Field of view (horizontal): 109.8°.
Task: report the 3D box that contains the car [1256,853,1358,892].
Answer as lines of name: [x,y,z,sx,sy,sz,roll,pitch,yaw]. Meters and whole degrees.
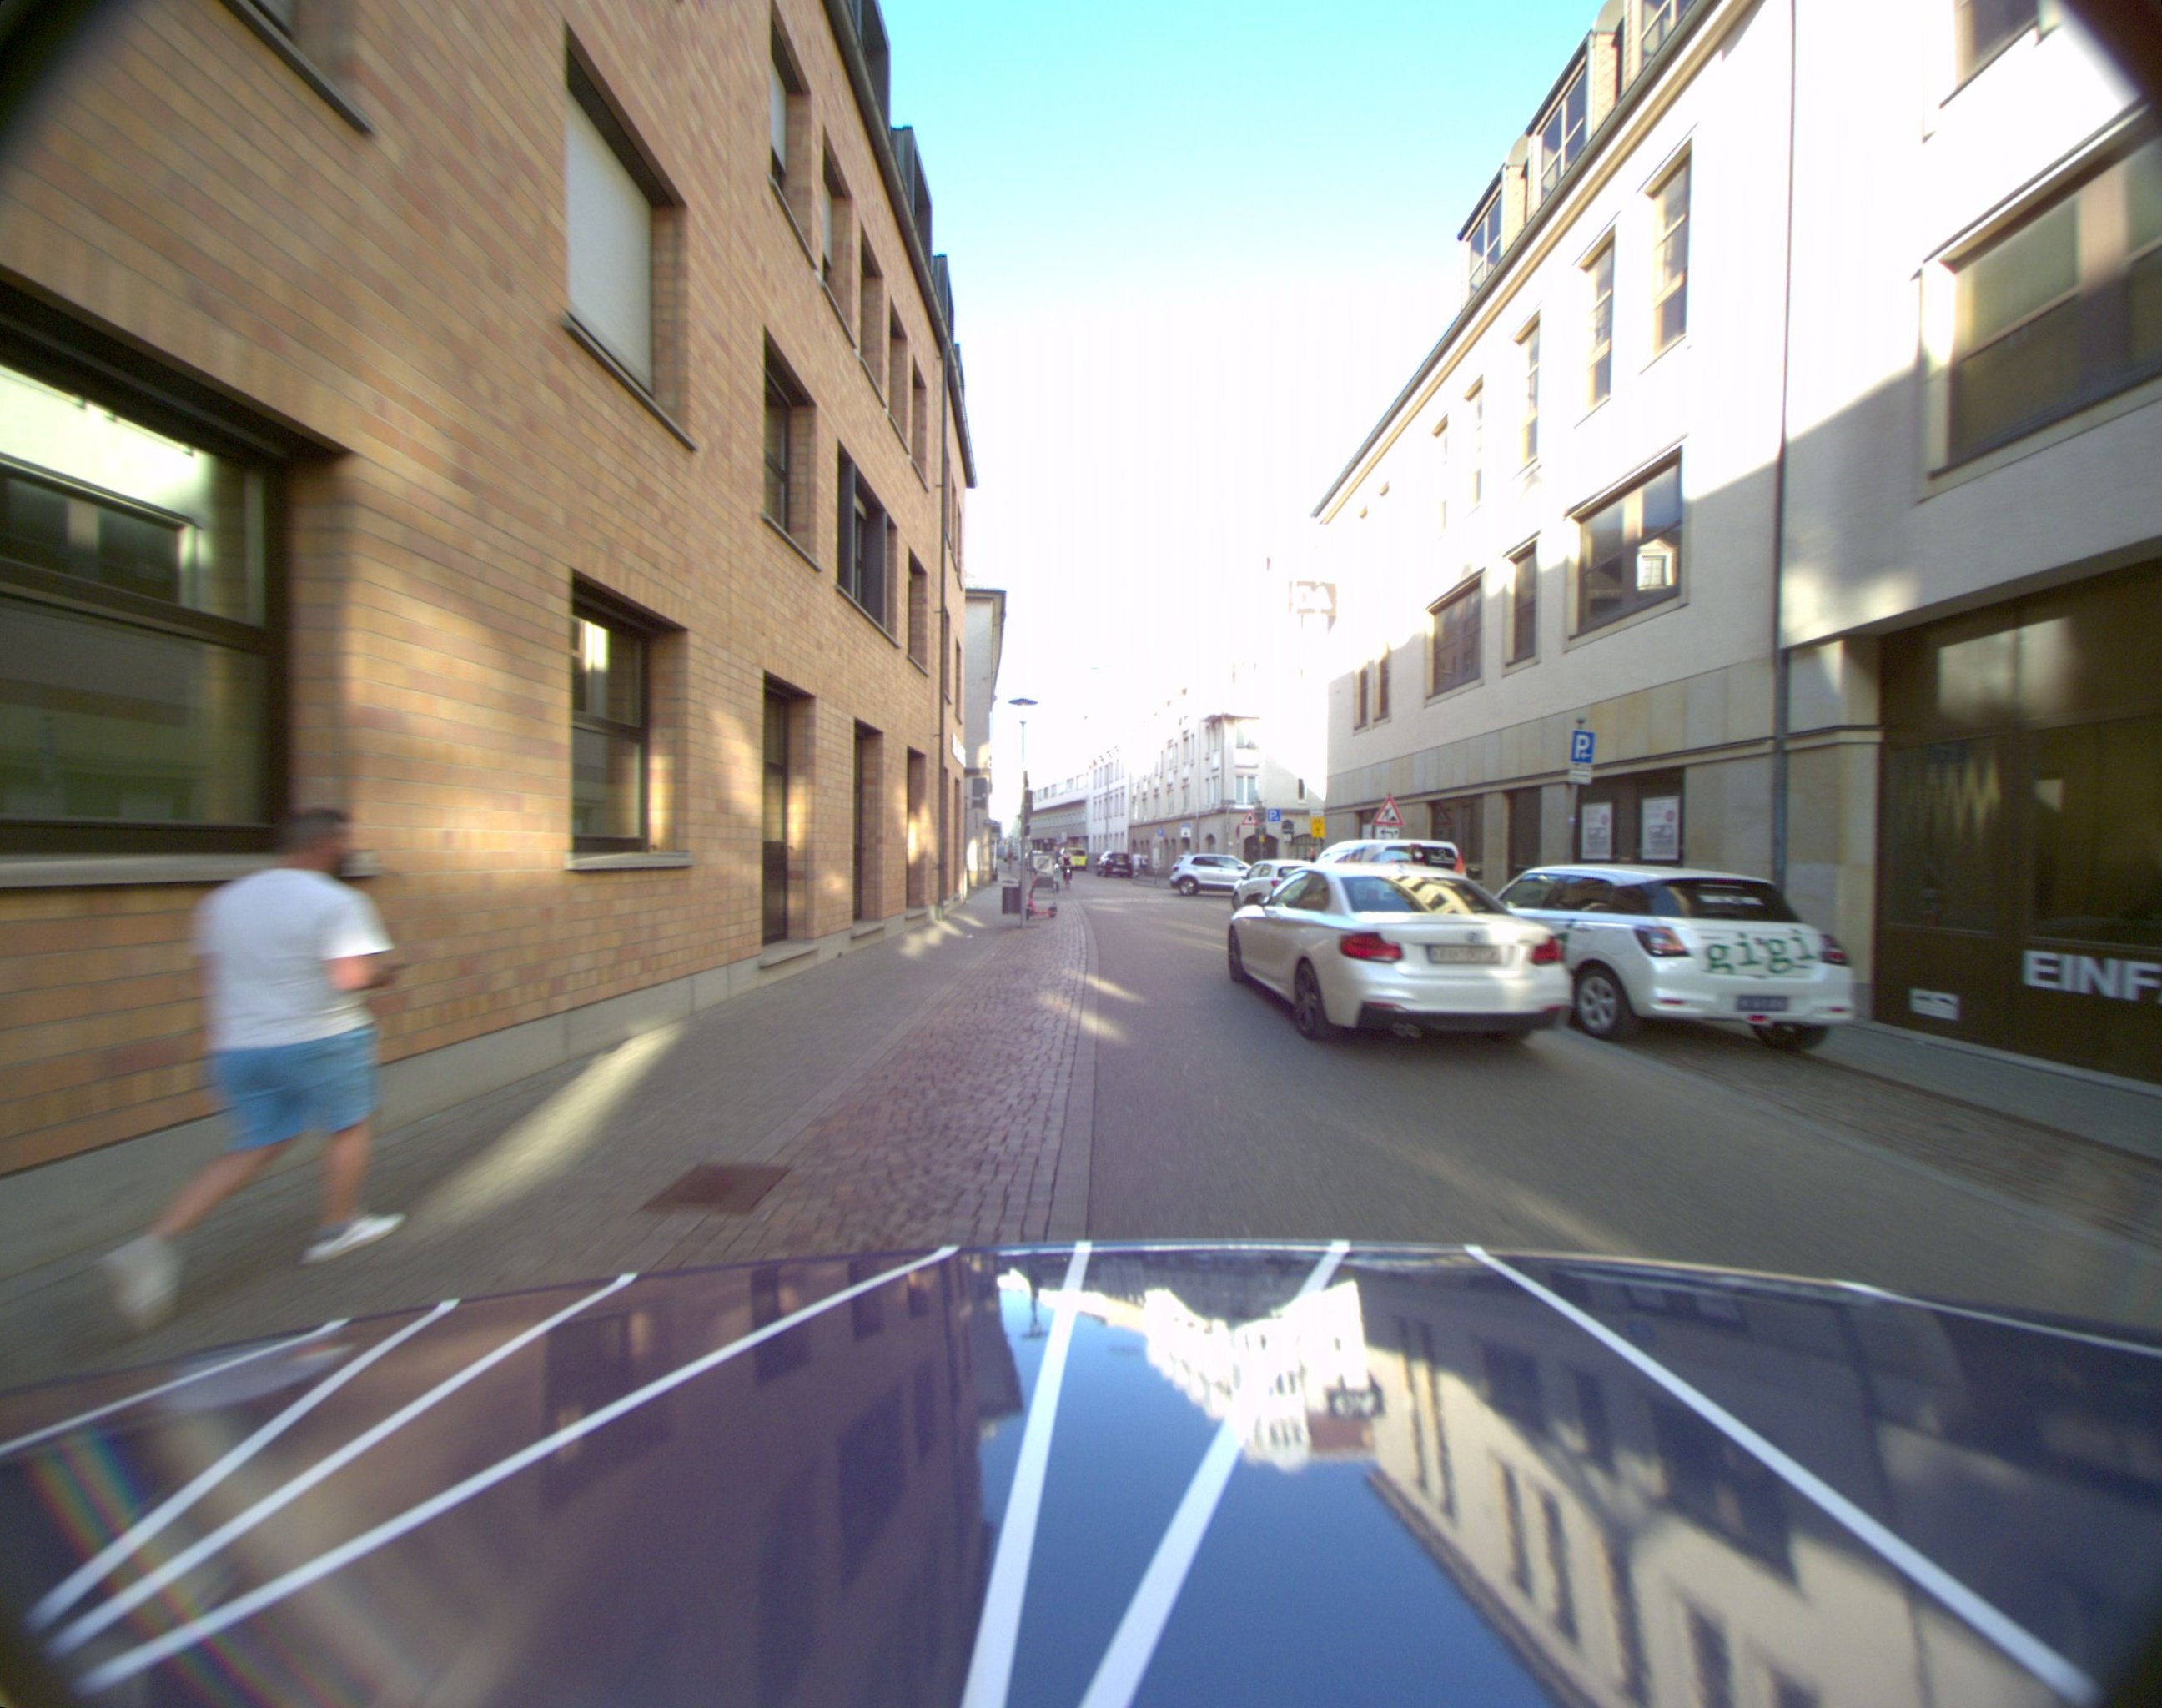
car: [9.946,0.795,33.592,3.967,1.584,1.743,1,2,-1]

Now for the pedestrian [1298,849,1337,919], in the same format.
pedestrian: [6.524,0.816,20.993,0.716,1.844,0.861,2,2,-2]

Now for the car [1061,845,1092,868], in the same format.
car: [-0.405,0.187,65.631,1.890,1.863,3.995,-1,1,-12]

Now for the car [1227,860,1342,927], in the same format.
car: [5.174,0.945,19.840,1.742,1.483,3.798,2,0,-4]

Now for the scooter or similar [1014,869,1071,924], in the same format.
scooter or similar: [-0.907,0.979,18.111,0.537,1.228,1.422,0,0,40]

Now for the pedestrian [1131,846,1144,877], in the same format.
pedestrian: [3.668,0.469,49.313,0.716,2.002,0.698,1,1,-10]

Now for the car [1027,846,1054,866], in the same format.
car: [-3.496,0.177,65.126,1.857,1.583,3.804,1,-1,-9]

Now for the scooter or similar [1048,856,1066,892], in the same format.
scooter or similar: [-0.958,0.779,30.074,0.524,1.388,1.554,1,1,-9]

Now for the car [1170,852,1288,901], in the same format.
car: [5.427,0.780,27.748,3.991,1.537,1.766,2,2,18]

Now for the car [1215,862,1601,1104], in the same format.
car: [2.519,0.873,7.079,1.719,1.509,4.159,1,0,-1]

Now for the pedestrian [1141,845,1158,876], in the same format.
pedestrian: [4.478,0.446,49.550,0.938,2.002,0.698,1,1,-10]

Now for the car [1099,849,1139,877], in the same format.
car: [2.430,0.579,49.817,1.889,1.694,3.997,2,0,-7]

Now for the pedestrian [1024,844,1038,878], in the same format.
pedestrian: [-2.971,0.385,45.049,0.716,2.002,0.698,1,1,-10]

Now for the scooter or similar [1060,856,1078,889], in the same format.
scooter or similar: [-0.521,0.775,32.387,0.550,1.388,1.554,1,1,-9]

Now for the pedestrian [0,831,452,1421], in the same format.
pedestrian: [-2.928,0.794,2.637,0.762,1.706,0.821,2,1,2]

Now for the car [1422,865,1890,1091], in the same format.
car: [5.104,0.950,7.514,1.674,1.513,3.775,3,0,0]

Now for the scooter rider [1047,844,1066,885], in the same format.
scooter rider: [-0.973,0.405,30.182,0.648,1.585,0.599,-2,2,-9]

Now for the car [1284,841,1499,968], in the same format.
car: [5.300,0.742,13.802,1.904,1.847,4.733,2,0,0]

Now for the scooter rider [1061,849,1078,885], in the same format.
scooter rider: [-0.499,0.553,32.545,0.592,1.500,0.599,-2,2,-9]

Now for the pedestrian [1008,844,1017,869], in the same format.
pedestrian: [-5.482,0.216,60.793,0.716,2.002,0.698,1,1,-10]
